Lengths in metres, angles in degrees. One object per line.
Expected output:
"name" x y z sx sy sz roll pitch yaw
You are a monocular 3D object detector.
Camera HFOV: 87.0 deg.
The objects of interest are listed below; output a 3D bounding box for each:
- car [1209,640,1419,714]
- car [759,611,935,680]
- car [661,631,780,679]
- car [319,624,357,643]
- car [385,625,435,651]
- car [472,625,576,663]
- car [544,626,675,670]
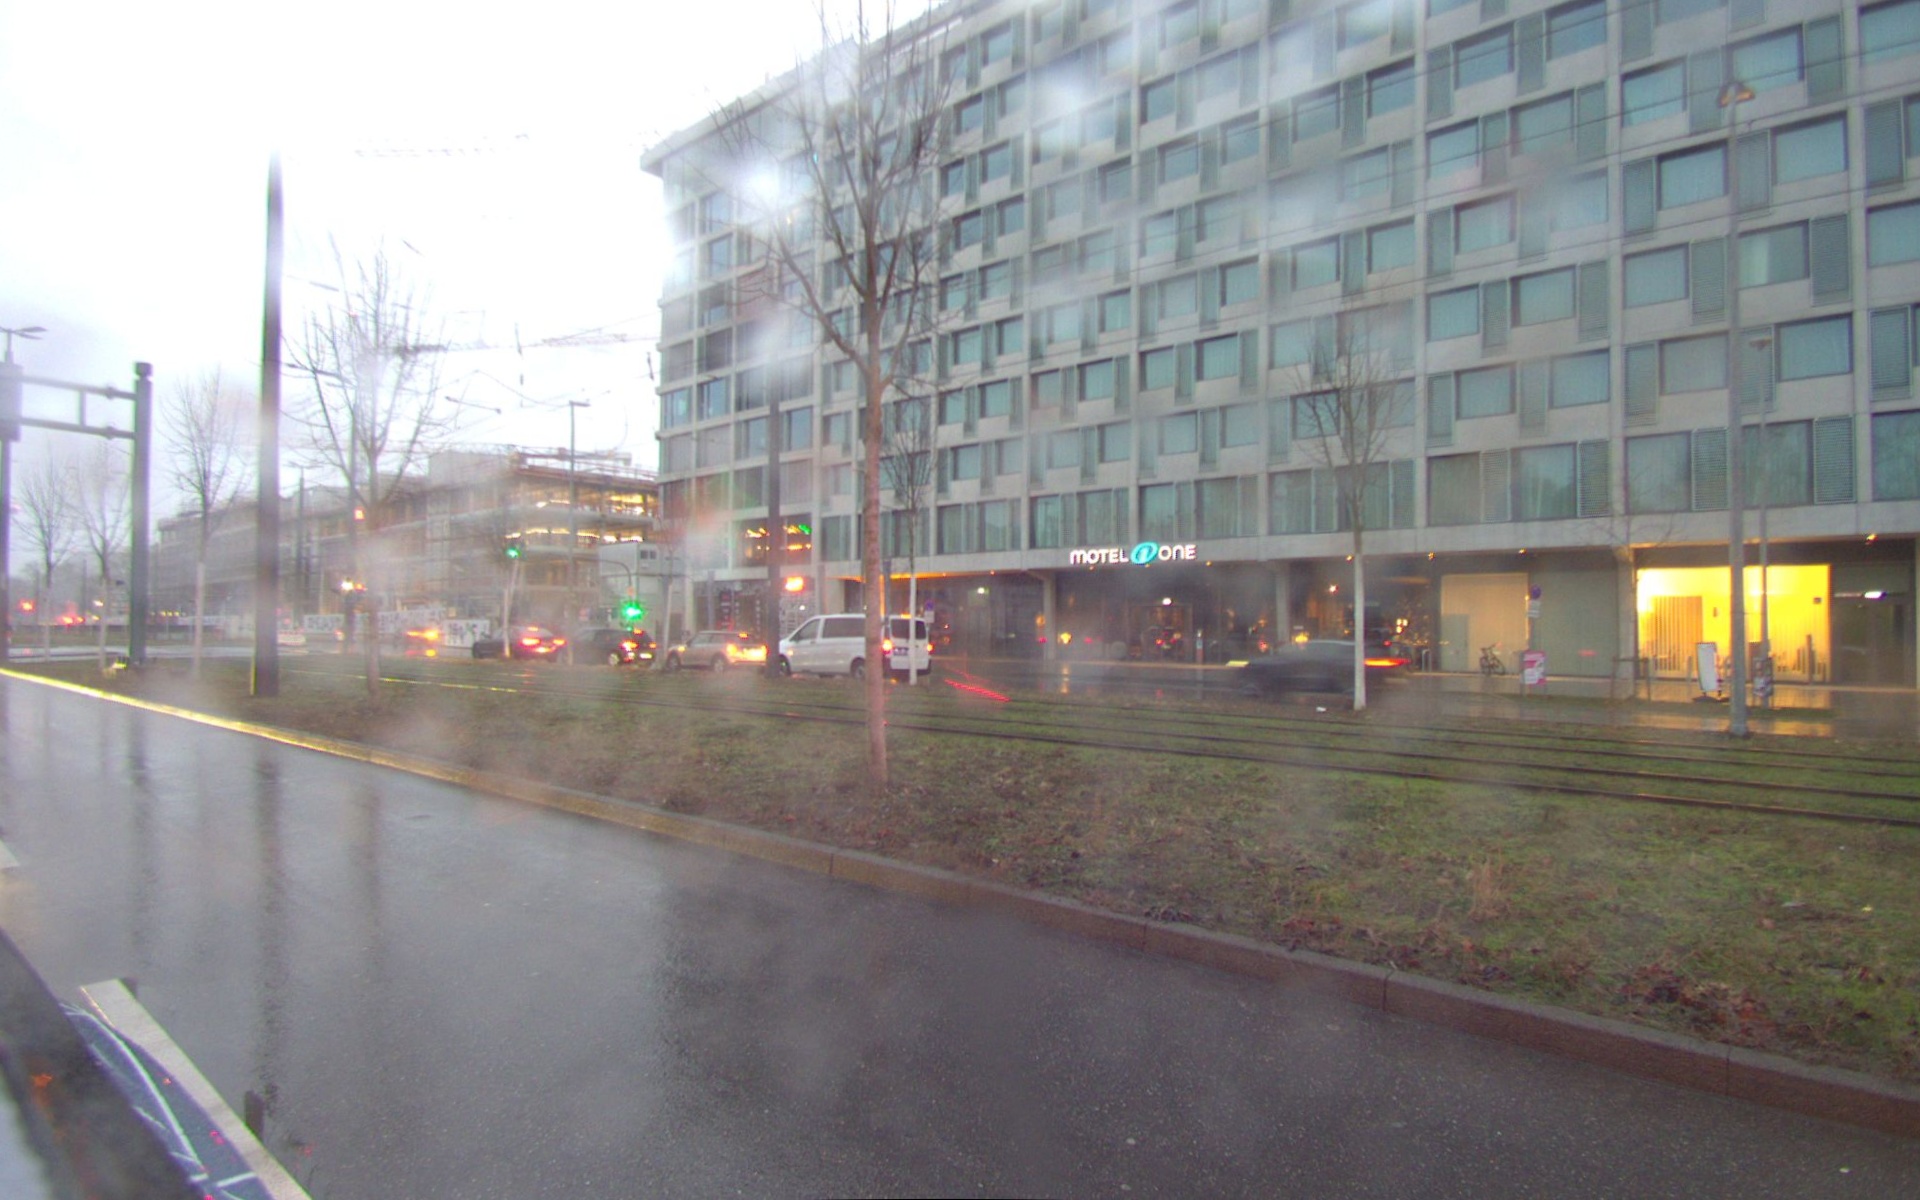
"car" 8.750 1.836 25.264 4.578 1.646 1.876 -1 -2 41
"car" -3.201 1.217 27.933 5.116 1.732 1.876 -1 -3 41
"car" -7.672 1.711 32.316 3.704 1.442 1.876 -1 -3 41
"car" -56.748 3.031 92.304 1.874 1.732 4.920 2 -2 -44
"car" -38.500 2.626 70.777 1.873 1.732 4.920 2 -2 -44
"car" -17.830 1.769 41.298 5.032 1.479 1.972 -2 -3 42
"car" -12.757 1.719 36.858 4.425 1.508 1.983 -1 -2 26
